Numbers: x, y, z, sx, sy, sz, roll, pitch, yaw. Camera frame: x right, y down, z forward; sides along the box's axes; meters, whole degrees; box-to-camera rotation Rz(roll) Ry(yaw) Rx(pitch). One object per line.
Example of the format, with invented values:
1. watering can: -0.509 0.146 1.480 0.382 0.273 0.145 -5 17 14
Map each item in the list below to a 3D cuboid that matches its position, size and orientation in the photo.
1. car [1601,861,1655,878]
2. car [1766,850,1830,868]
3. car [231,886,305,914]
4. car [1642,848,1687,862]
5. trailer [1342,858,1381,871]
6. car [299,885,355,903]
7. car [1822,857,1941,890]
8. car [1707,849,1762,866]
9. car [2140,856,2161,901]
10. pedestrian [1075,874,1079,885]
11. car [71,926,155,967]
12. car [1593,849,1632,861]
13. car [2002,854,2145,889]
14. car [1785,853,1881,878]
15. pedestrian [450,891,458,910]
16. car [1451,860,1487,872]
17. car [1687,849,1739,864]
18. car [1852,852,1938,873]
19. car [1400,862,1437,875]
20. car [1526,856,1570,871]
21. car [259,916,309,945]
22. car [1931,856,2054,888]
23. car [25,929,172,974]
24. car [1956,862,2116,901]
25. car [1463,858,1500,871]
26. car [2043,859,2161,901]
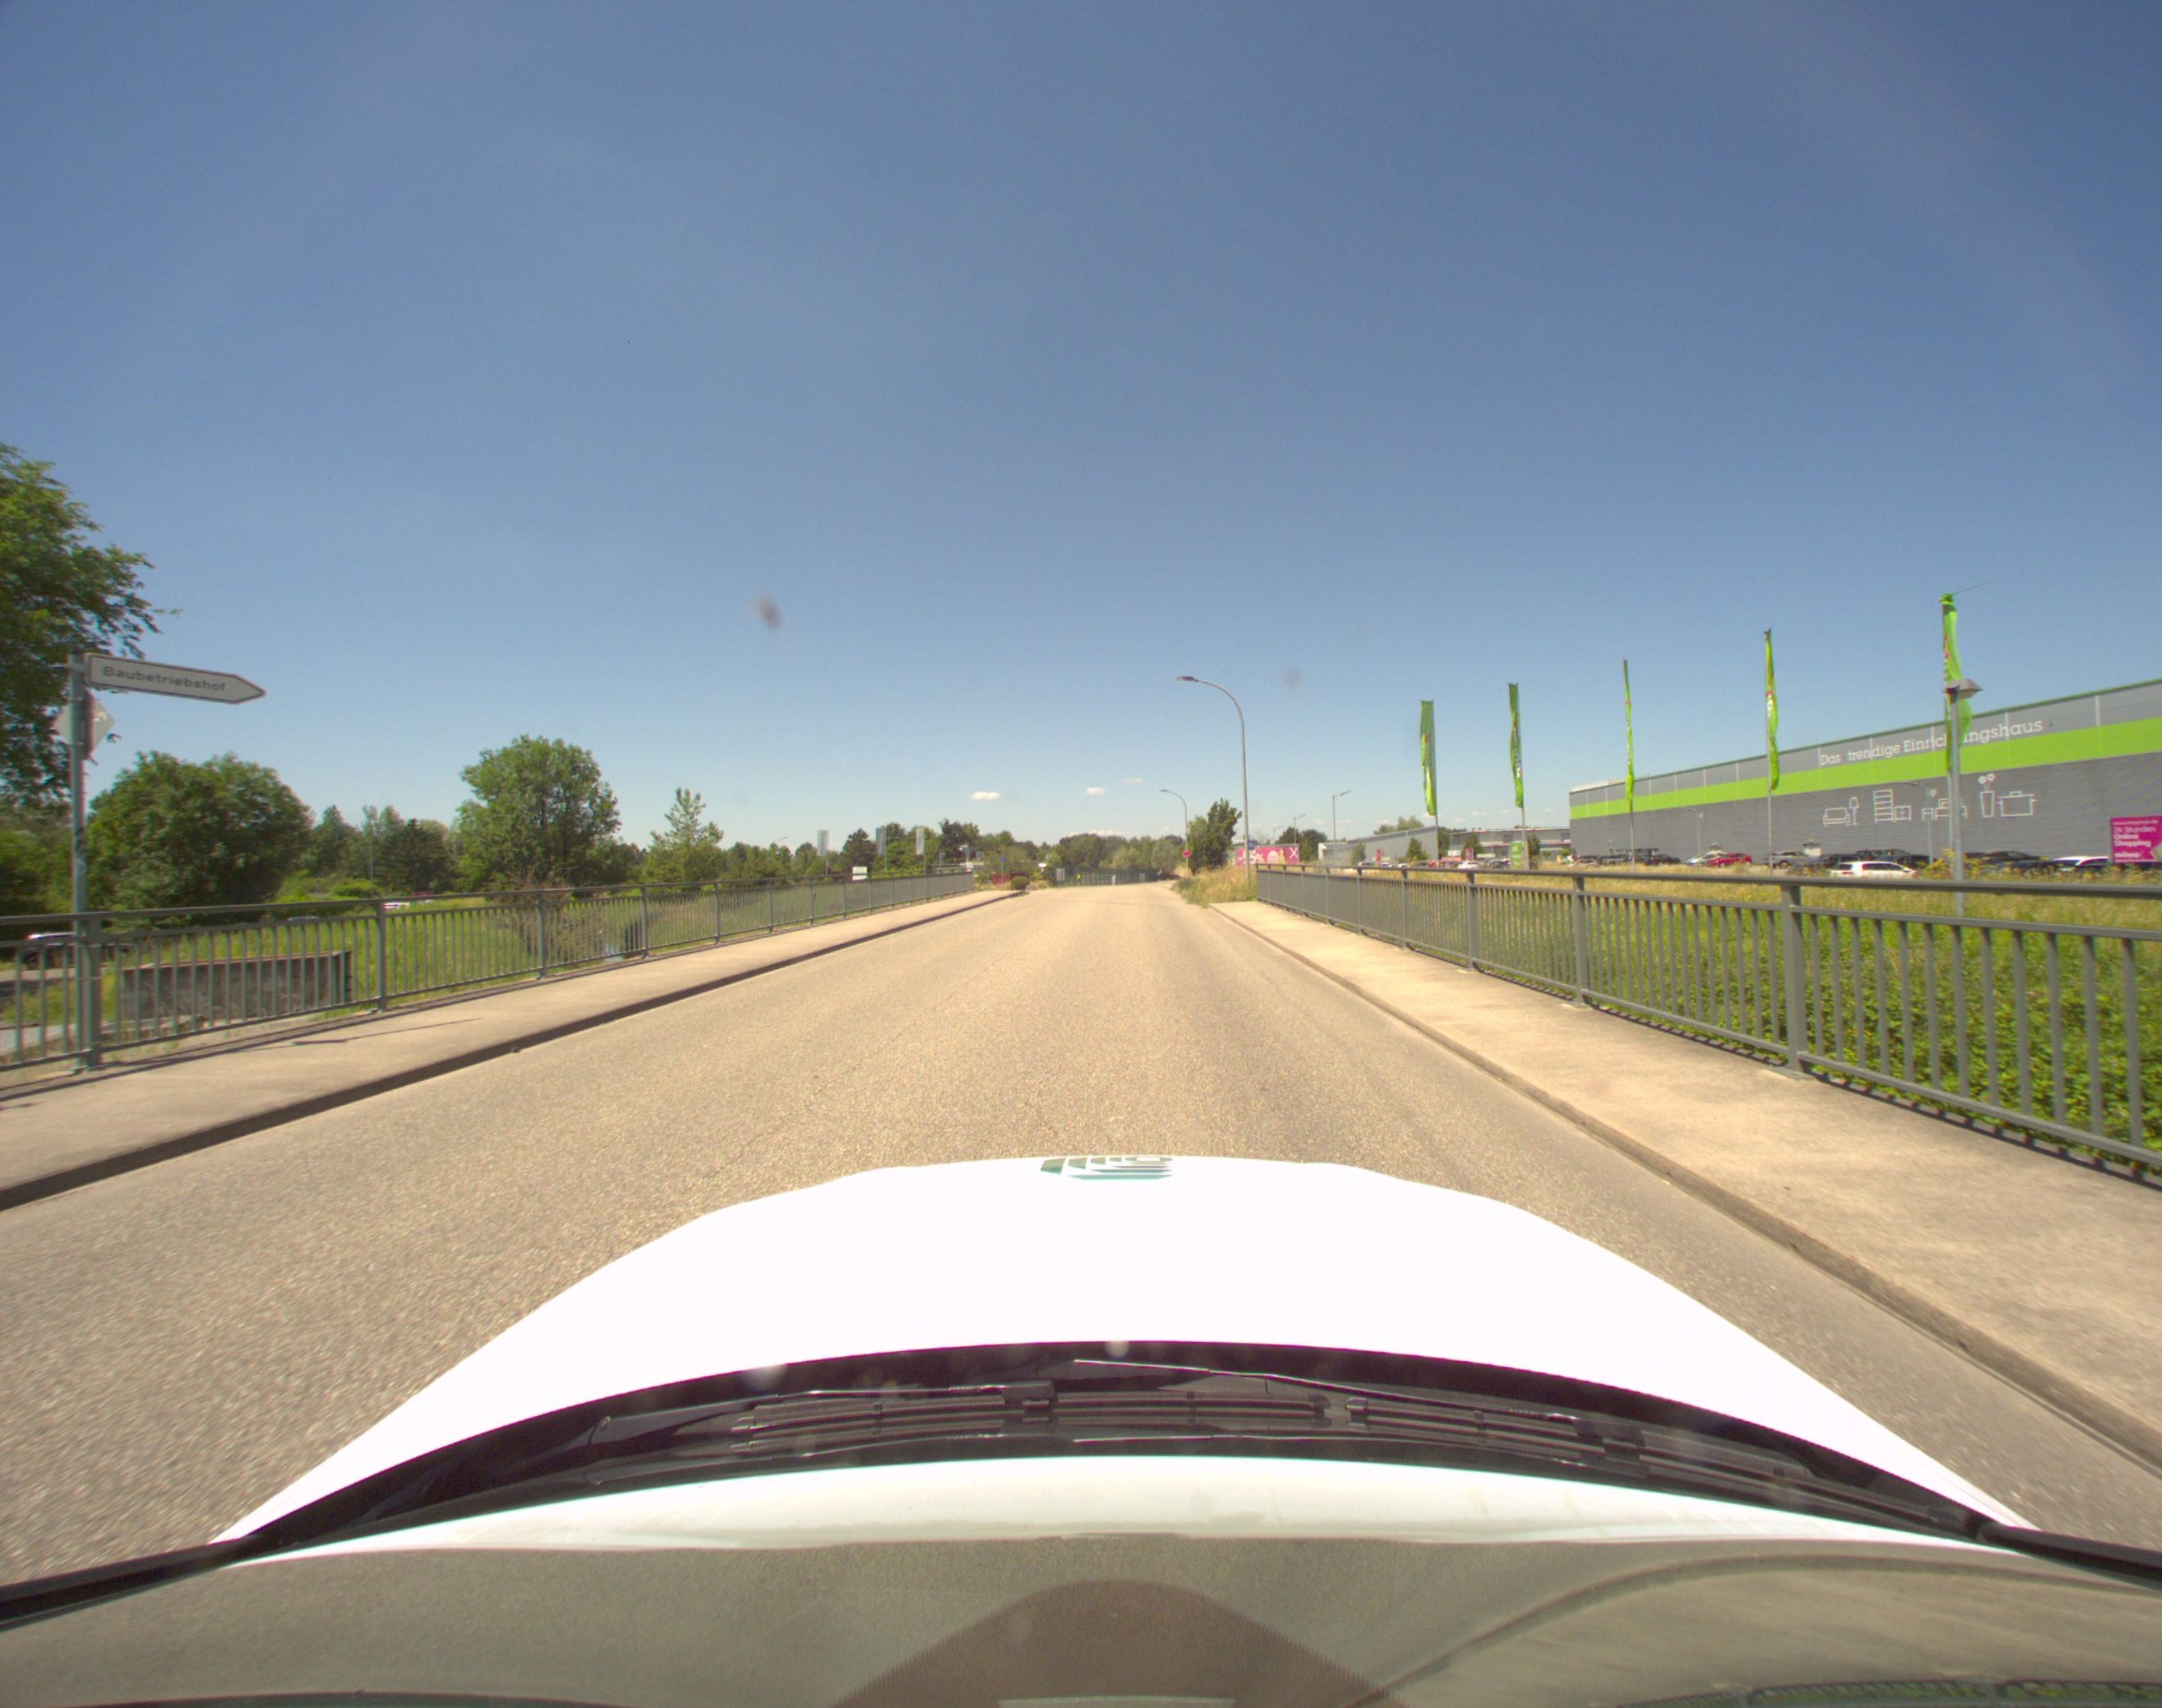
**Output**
1. car: 54.724 1.537 81.560 3.968 1.519 2.002 -2 -3 4
2. car: 66.511 0.506 75.600 3.970 1.519 2.001 -2 -3 3
3. car: -68.327 3.840 68.545 4.017 1.999 2.243 -2 0 -35
4. car: 70.762 0.083 98.762 3.967 1.519 2.003 -2 -3 5
5. trailer: 31.747 1.231 92.261 3.964 1.398 1.768 -1 -1 8
6. car: -79.176 4.178 85.589 4.017 1.571 1.978 -2 0 -35
7. car: 41.485 1.030 42.308 3.963 1.531 1.952 -2 -2 9
8. car: 68.203 0.363 85.017 3.970 1.519 2.001 -2 -3 3
9. car: 39.359 0.758 27.591 3.963 1.547 1.920 -2 -2 9
10. pedestrian: -0.755 4.612 147.752 0.601 1.839 0.807 -2 -2 11
11. car: -51.151 4.848 43.125 1.884 1.751 3.956 -3 -1 -35
12. car: 72.374 0.144 110.938 3.970 1.519 2.001 -2 -3 3
13. car: 47.197 0.854 38.826 3.963 1.505 1.952 -2 -2 9
14. car: 50.801 0.783 55.116 4.381 1.519 2.005 -2 -3 9
15. pedestrian: -67.213 4.973 87.281 0.617 2.013 0.618 -2 -1 -39
16. car: 52.323 1.617 109.982 3.964 1.519 2.004 -2 -3 8
17. car: 68.428 0.310 88.166 3.970 1.475 2.001 -2 -3 3
18. car: 64.360 0.682 64.467 4.632 1.519 2.001 -2 -3 3
19. car: 40.410 1.710 97.547 3.713 1.570 1.895 -1 -1 9
20. car: 54.638 1.138 95.368 3.970 1.519 2.001 -2 -3 3
21. car: -53.259 5.097 54.490 2.010 1.596 3.953 -2 -1 -39
22. car: 48.200 0.960 43.145 3.963 1.505 1.952 -2 -2 9
23. car: -46.732 4.607 38.882 4.017 1.571 1.978 -2 0 -35
24. car: 39.792 1.163 34.041 3.963 1.462 1.952 -2 -2 9
25. car: 52.089 1.345 105.972 3.964 1.519 2.004 -2 -3 8
26. car: 39.683 0.956 30.764 3.963 1.462 1.920 -2 -2 9
